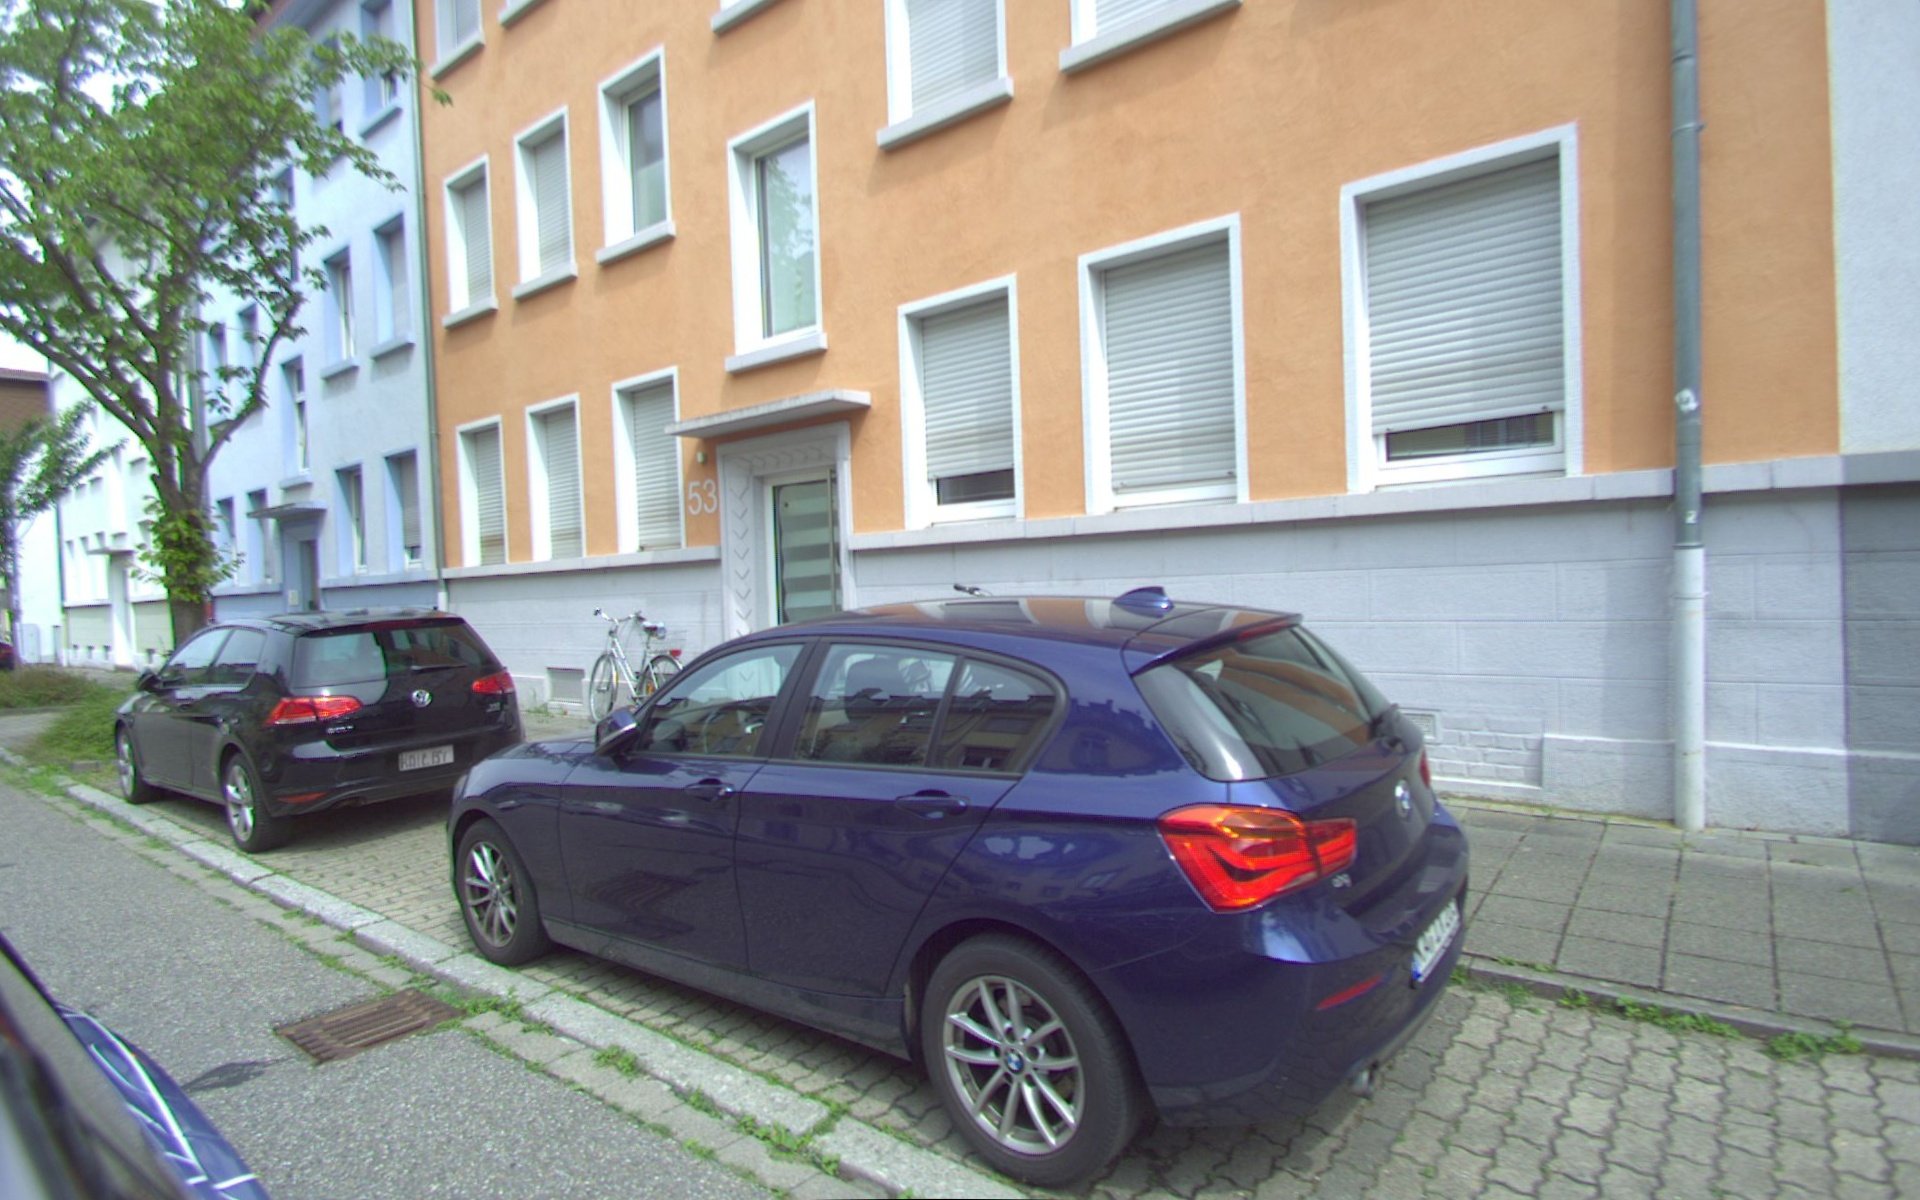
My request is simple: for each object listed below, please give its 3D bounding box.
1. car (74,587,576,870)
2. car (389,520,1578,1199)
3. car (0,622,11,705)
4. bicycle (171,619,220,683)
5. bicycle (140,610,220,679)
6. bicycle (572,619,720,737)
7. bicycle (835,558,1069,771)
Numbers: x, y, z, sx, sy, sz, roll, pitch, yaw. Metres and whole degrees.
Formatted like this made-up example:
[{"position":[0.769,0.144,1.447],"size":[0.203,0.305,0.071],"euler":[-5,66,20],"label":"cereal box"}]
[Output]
[{"position":[-4.894,0.739,7.607],"size":[4.087,1.495,1.820],"euler":[-1,3,37],"label":"car"},{"position":[-0.198,0.596,3.785],"size":[4.114,1.494,1.820],"euler":[-1,4,37],"label":"car"},{"position":[-20.036,1.245,19.747],"size":[4.245,1.554,1.685],"euler":[-1,1,40],"label":"car"},{"position":[-13.912,0.911,18.401],"size":[1.537,1.122,0.363],"euler":[-1,-1,39],"label":"bicycle"},{"position":[-11.134,0.627,14.437],"size":[1.537,0.878,0.410],"euler":[-1,10,39],"label":"bicycle"},{"position":[-2.989,0.692,9.523],"size":[1.866,1.013,0.363],"euler":[-1,-1,39],"label":"bicycle"},{"position":[-0.107,0.419,7.131],"size":[1.810,1.344,0.425],"euler":[-1,-1,41],"label":"bicycle"}]
